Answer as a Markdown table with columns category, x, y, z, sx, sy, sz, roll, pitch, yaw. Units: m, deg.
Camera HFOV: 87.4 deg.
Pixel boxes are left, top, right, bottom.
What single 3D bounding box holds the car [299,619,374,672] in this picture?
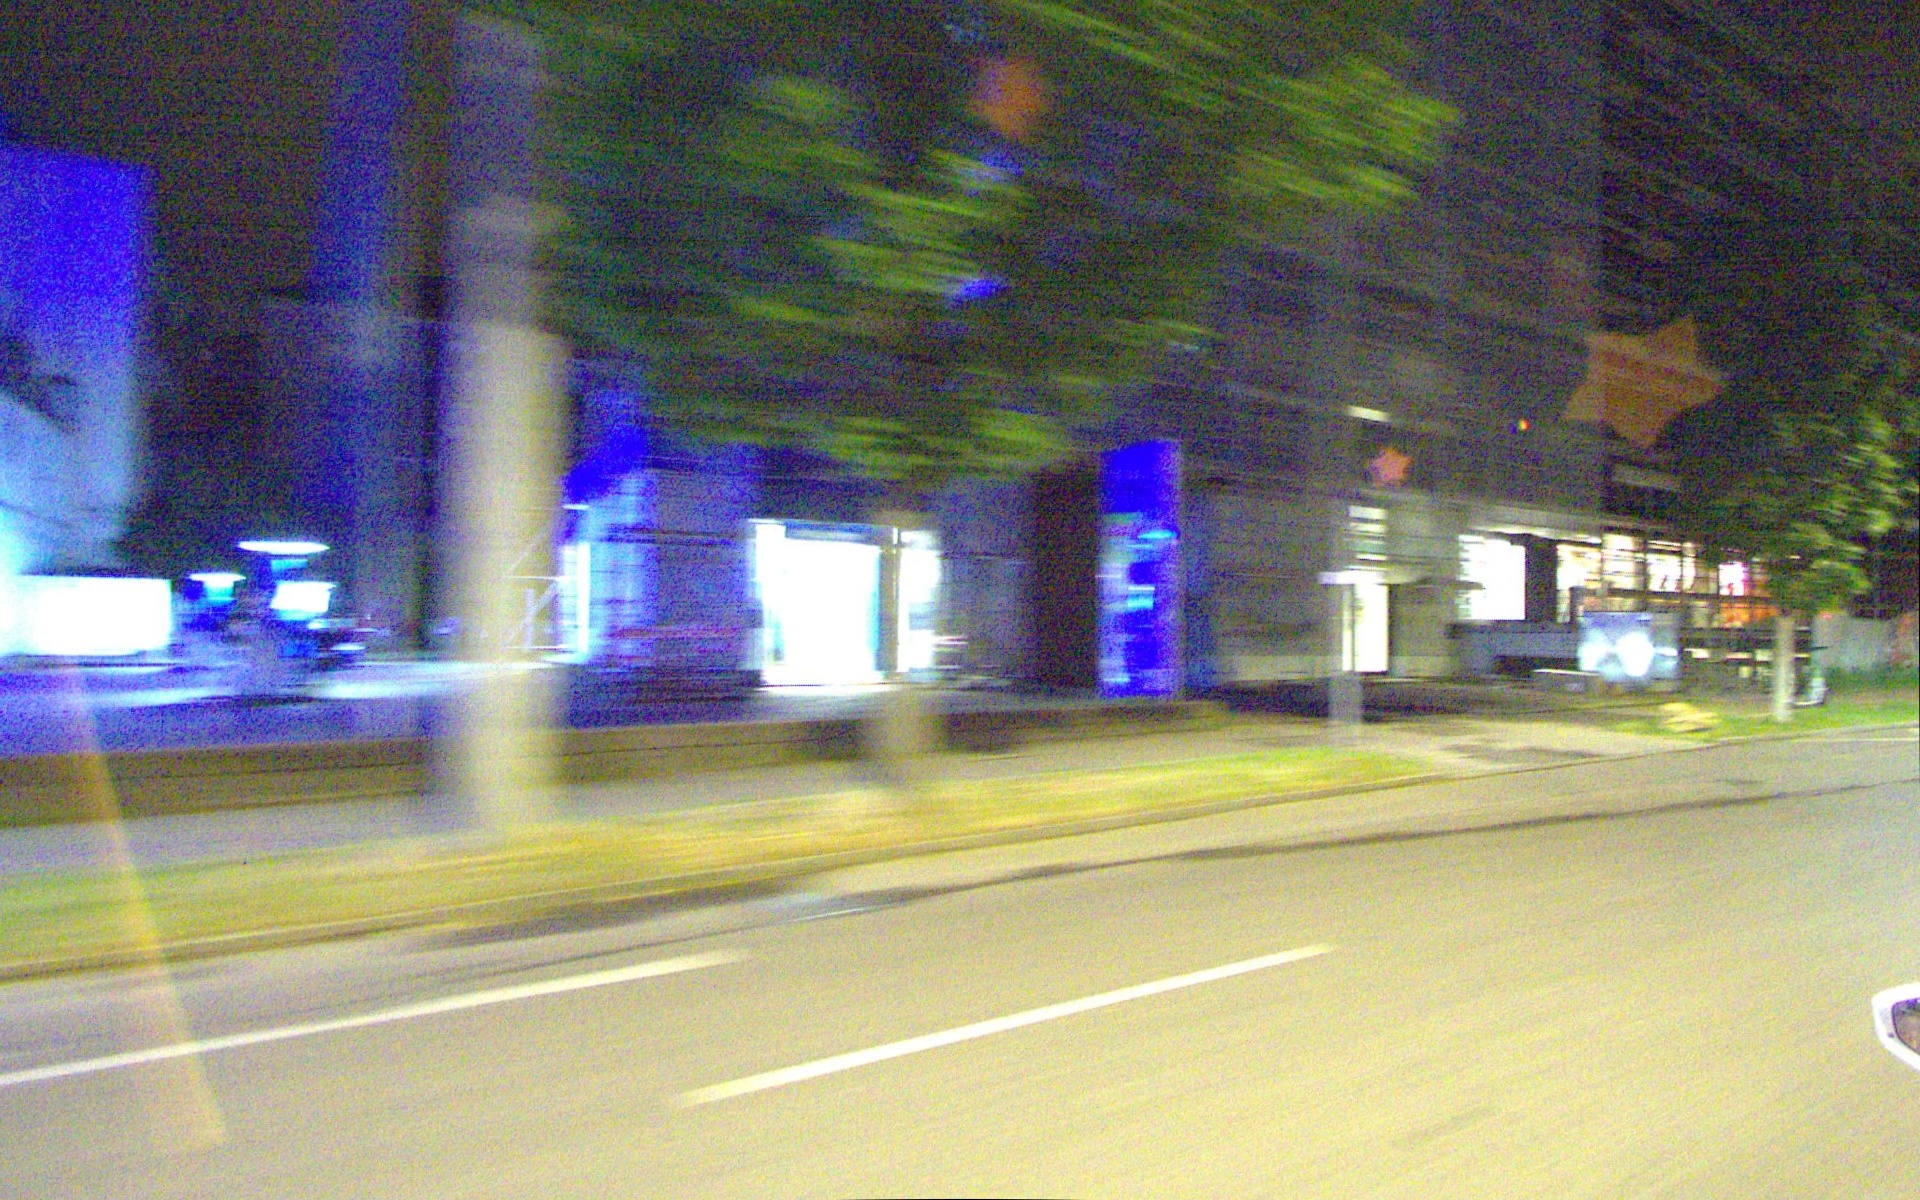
| category | x | y | z | sx | sy | sz | roll | pitch | yaw |
| --- | --- | --- | --- | --- | --- | --- | --- | --- | --- |
| car | -16.178 | 1.152 | 26.179 | 1.556 | 1.282 | 3.132 | 1 | -2 | -30 |

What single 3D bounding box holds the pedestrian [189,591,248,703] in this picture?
| category | x | y | z | sx | sy | sz | roll | pitch | yaw |
| --- | --- | --- | --- | --- | --- | --- | --- | --- | --- |
| pedestrian | -11.076 | 0.688 | 15.023 | 0.636 | 1.627 | 0.572 | 1 | -1 | -32 |

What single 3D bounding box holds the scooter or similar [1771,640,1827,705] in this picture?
| category | x | y | z | sx | sy | sz | roll | pitch | yaw |
| --- | --- | --- | --- | --- | --- | --- | --- | --- | --- |
| scooter or similar | 16.145 | 1.382 | 19.325 | 1.411 | 1.220 | 0.365 | 2 | -2 | -31 |
